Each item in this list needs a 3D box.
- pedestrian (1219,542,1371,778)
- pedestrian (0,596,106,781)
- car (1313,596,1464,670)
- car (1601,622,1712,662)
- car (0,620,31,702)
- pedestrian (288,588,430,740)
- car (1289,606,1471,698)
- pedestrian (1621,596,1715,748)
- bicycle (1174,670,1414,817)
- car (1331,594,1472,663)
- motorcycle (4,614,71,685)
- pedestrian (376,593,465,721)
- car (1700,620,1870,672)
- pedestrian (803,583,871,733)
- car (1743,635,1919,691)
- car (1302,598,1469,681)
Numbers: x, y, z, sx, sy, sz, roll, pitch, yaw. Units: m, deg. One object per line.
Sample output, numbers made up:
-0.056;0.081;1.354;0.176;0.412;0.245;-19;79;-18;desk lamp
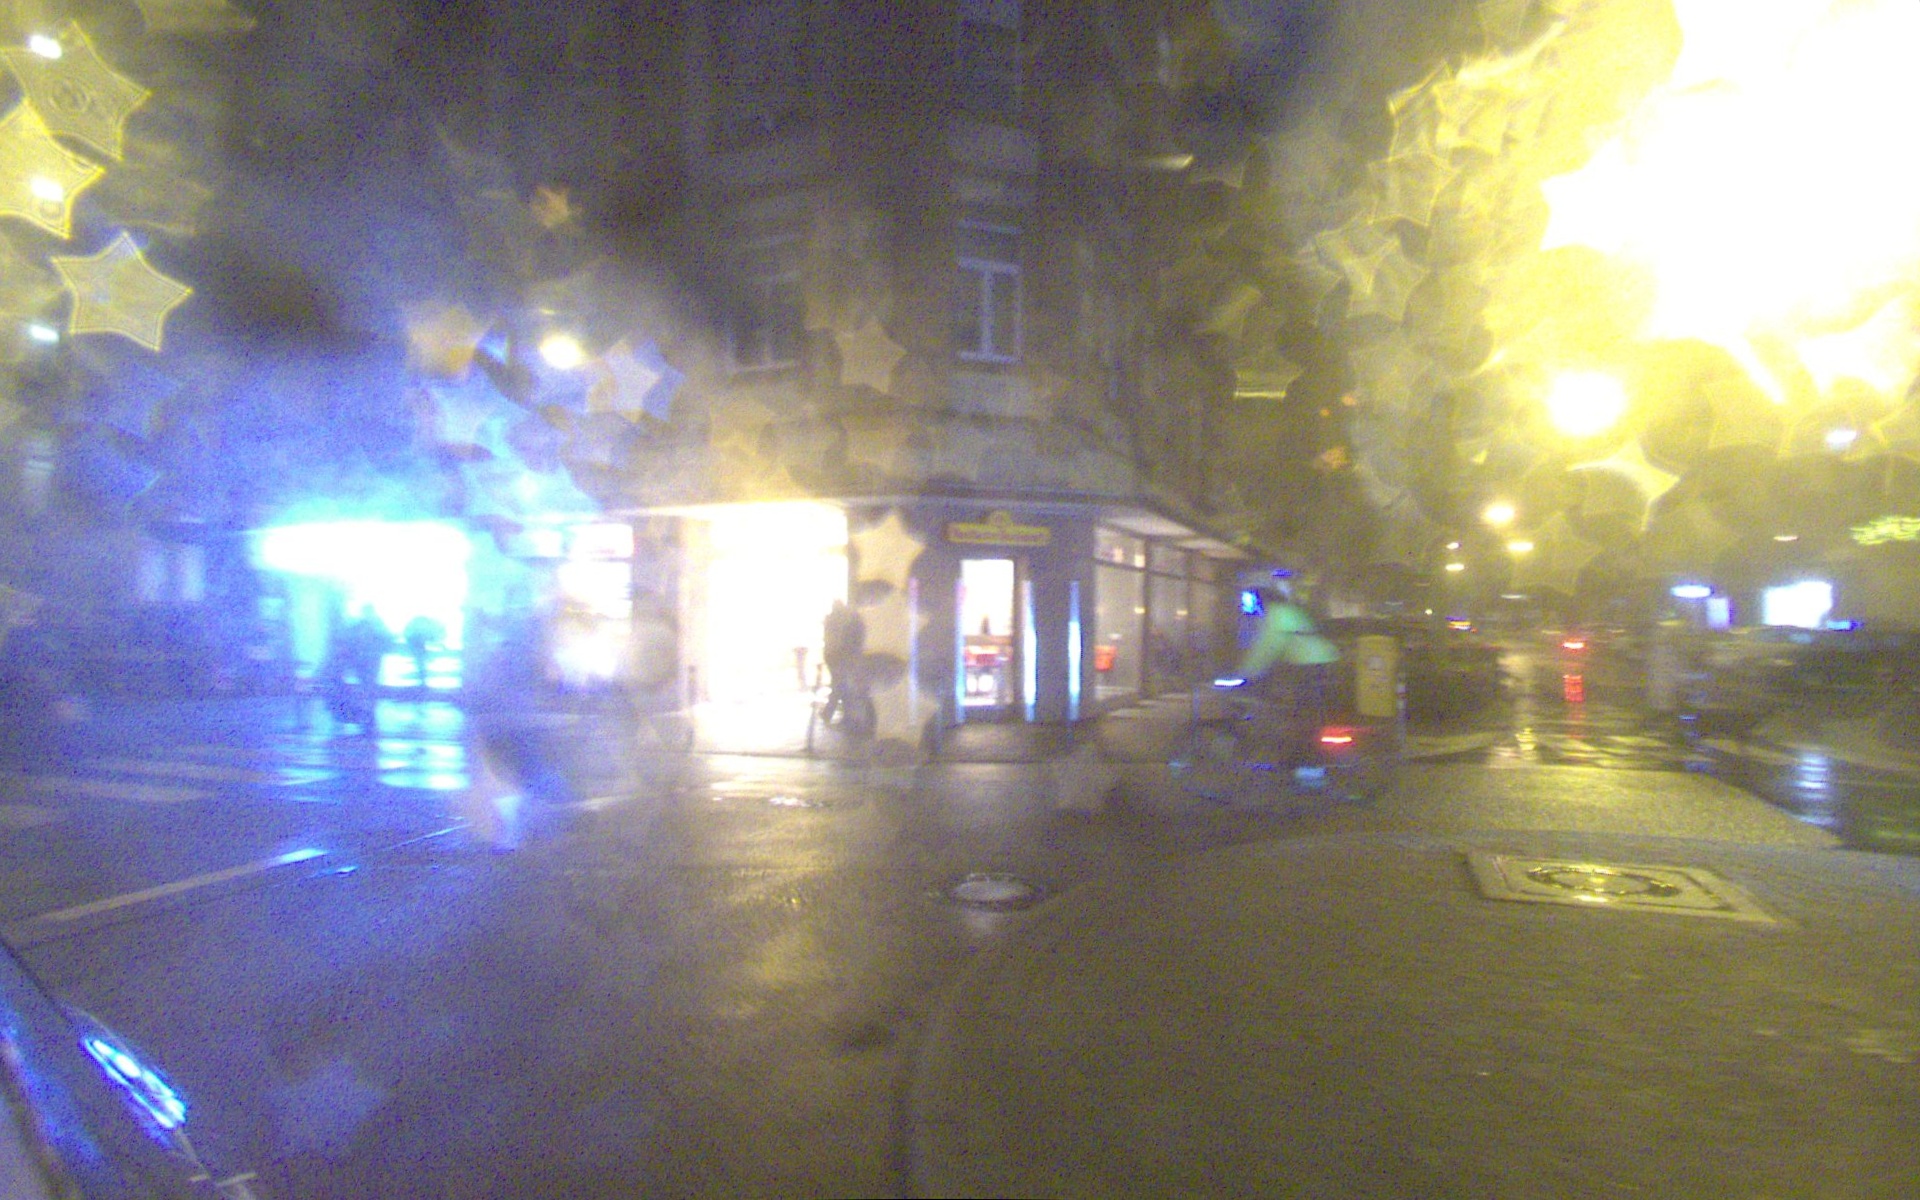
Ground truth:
2.756;0.478;8.356;1.117;1.825;0.710;-1;-2;20;pedestrian
-9.277;0.854;10.267;0.599;1.784;0.819;-1;0;36;pedestrian
12.600;0.911;29.761;3.981;2.029;1.981;0;1;28;car
29.609;1.787;43.141;3.653;1.640;1.577;-1;-2;27;car
-19.908;1.126;19.017;5.001;1.489;1.838;0;-1;25;car
-7.877;0.810;13.284;1.406;1.877;0.951;-1;-1;23;pedestrian
10.323;1.192;24.883;3.981;2.029;1.981;0;1;28;car
9.165;0.908;13.106;0.945;1.872;0.789;-1;-3;37;pedestrian
2.724;1.133;8.343;1.788;1.067;0.710;-1;-2;20;bicycle
13.906;0.840;31.878;3.981;2.029;1.981;0;1;28;car
-19.935;1.042;21.865;1.448;1.482;0.534;0;0;24;motorcycle
-8.060;0.821;15.120;1.072;1.846;0.671;-1;0;26;pedestrian
23.523;1.307;29.004;3.443;1.414;1.577;-1;-2;27;car
-1.630;0.753;13.409;0.628;1.923;0.646;-2;-2;41;pedestrian
21.516;1.507;24.552;3.701;1.285;1.577;-1;-2;27;car
11.383;0.975;27.071;3.981;2.029;1.981;0;1;28;car
